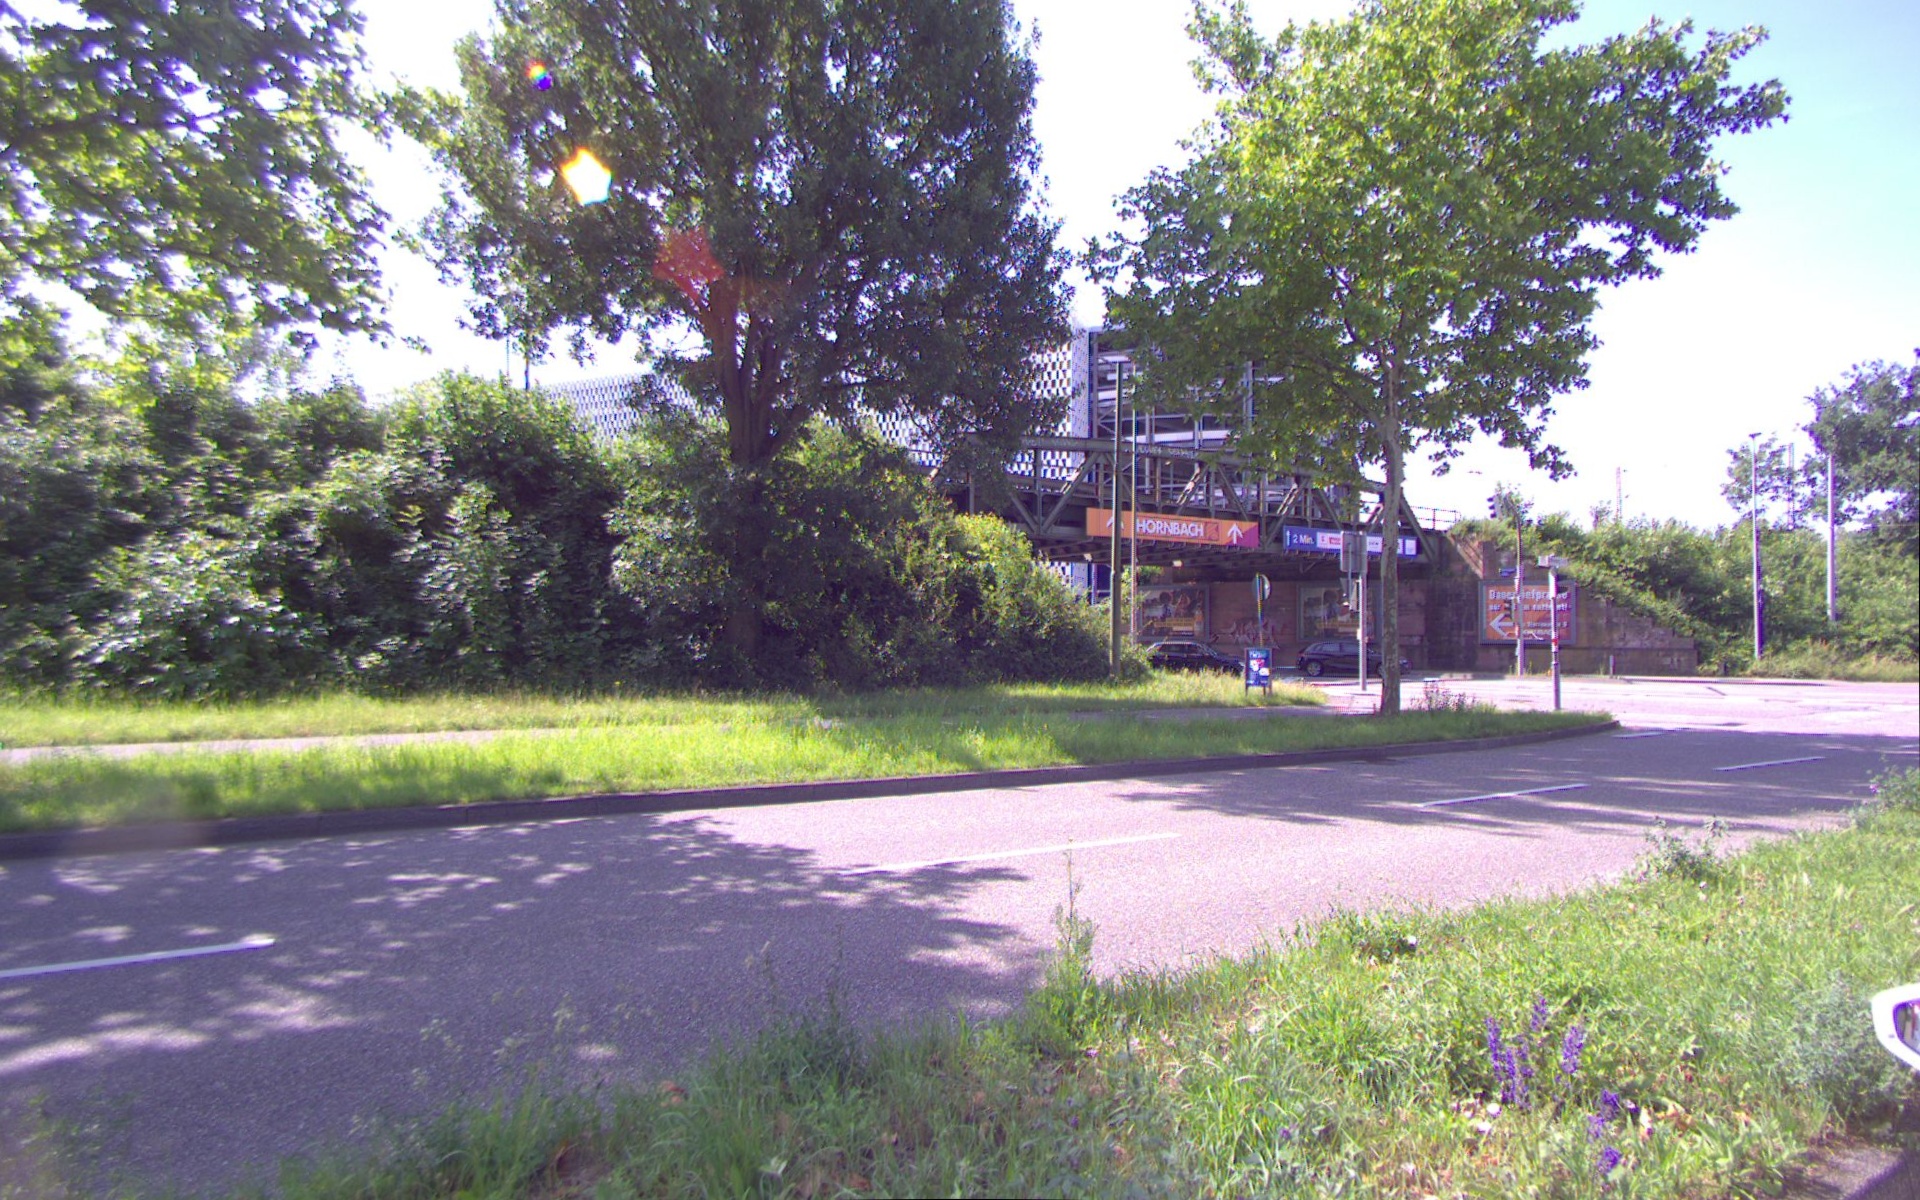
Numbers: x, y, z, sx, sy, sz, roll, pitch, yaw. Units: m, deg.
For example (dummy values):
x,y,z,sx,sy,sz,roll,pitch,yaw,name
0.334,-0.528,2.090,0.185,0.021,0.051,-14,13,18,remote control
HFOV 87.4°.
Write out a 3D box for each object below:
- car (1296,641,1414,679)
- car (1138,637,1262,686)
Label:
x,y,z,sx,sy,sz,roll,pitch,yaw,name
15.587,2.322,39.675,4.253,1.413,1.770,-1,-2,24,car
8.295,2.098,34.718,3.869,1.500,1.822,1,-2,25,car
